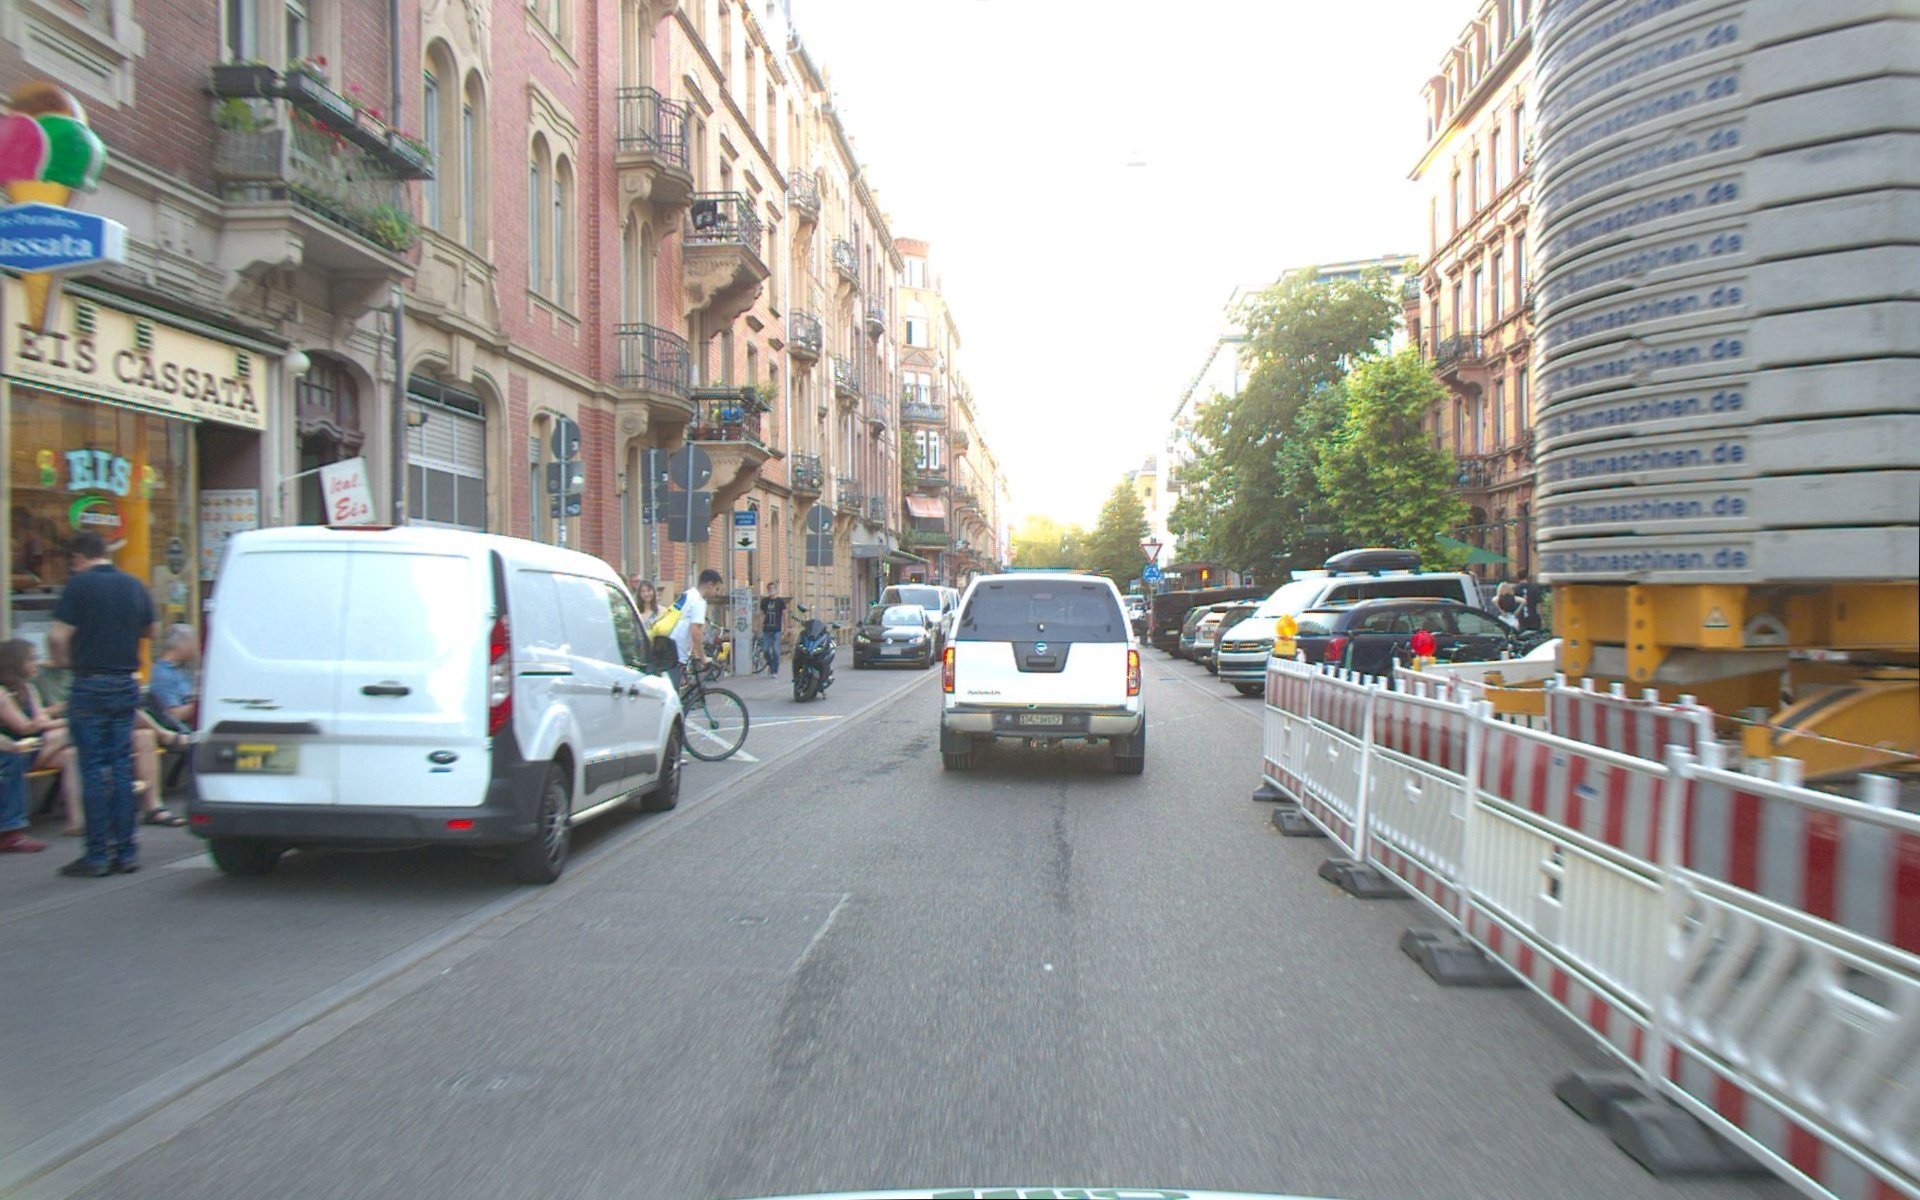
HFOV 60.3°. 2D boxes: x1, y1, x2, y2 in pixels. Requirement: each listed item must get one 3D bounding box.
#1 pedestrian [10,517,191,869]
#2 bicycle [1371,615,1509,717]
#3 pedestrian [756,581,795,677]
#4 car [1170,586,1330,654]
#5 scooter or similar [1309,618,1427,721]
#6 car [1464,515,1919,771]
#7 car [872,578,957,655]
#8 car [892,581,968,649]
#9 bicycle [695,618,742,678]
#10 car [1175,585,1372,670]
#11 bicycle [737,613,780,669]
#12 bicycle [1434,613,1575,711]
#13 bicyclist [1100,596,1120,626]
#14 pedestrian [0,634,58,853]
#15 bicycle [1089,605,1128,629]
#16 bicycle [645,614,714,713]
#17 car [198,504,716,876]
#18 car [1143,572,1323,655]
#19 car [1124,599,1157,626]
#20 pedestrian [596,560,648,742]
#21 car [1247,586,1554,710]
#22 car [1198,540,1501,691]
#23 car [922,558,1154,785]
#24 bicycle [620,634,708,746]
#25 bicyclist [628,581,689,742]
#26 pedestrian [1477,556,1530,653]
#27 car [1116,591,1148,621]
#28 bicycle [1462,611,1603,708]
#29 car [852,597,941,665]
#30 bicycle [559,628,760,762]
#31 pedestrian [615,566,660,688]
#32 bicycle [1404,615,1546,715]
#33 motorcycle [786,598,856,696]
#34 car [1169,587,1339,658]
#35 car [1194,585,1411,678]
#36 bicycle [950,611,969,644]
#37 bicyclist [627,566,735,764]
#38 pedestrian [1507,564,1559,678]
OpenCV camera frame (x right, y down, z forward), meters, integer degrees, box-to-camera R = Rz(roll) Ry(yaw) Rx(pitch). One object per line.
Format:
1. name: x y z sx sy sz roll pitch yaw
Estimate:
1. pedestrian: -4.510 0.467 8.689 0.607 1.760 0.584 0 -1 32
2. bicycle: 5.831 0.777 20.198 0.489 1.156 1.798 -2 1 -27
3. pedestrian: -3.615 0.563 32.472 0.668 1.842 0.961 1 -1 -2
4. car: 7.930 0.536 45.204 4.050 1.579 1.802 -3 1 -28
5. scooter or similar: 4.950 0.826 20.154 0.645 1.170 1.475 -2 0 -20
6. car: 7.337 0.303 14.742 5.065 1.989 1.900 -3 1 2
7. car: -1.165 0.423 44.552 1.798 1.955 4.848 0 0 4
8. car: -0.871 0.447 50.696 2.065 1.955 5.027 0 0 2
9. bicycle: -4.331 0.846 29.730 0.438 1.048 1.741 1 -1 4
10. car: 7.009 0.599 36.965 4.049 1.618 1.802 -3 1 -28
11. bicycle: -4.183 0.836 34.500 0.735 1.120 2.024 1 -1 -3
12. bicycle: 6.838 0.759 20.841 0.490 1.156 1.795 -2 1 -30
13. bicyclist: 7.667 0.561 84.469 0.853 1.492 0.576 1 -1 24
14. pedestrian: -5.417 0.768 9.046 0.618 1.160 0.573 1 -1 2
15. bicycle: 7.569 0.884 84.497 1.891 1.192 0.596 1 -1 24
16. bicycle: -3.511 0.773 20.843 0.403 1.180 1.838 1 -1 4
17. car: -2.835 0.469 10.494 1.733 1.820 4.588 1 -1 2
18. car: 8.048 0.360 48.543 5.375 2.108 1.910 -3 1 -35
19. car: 11.048 0.785 101.448 1.796 1.569 4.001 1 -1 3
20. pedestrian: -3.274 0.494 16.040 0.409 1.739 0.350 1 -1 -2
21. car: 6.112 0.615 22.974 3.802 1.542 1.835 -1 0 -23
22. car: 6.718 0.217 28.507 4.856 2.403 1.986 -1 0 -23
23. car: 0.914 0.617 16.237 1.897 1.842 5.004 1 -1 6
24. bicycle: -3.058 0.908 17.208 0.456 1.087 1.521 1 -1 7
25. bicyclist: -3.079 0.622 16.922 0.456 1.618 0.487 1 -1 7
26. pedestrian: 9.755 0.084 29.691 0.615 1.710 0.651 1 -1 -24
27. car: 11.448 0.421 110.229 1.902 1.967 4.001 1 -1 3
28. bicycle: 7.293 0.737 21.131 0.490 1.156 1.795 -2 1 -30
29. car: -1.437 0.691 38.758 1.799 1.496 4.173 0 0 2
30. bicycle: -2.757 0.864 15.203 1.750 1.175 0.518 1 -1 -19
31. pedestrian: -4.862 0.404 24.953 0.453 1.821 0.642 1 -1 7
32. bicycle: 6.362 0.779 20.526 0.490 1.156 1.795 -2 1 -30
33. motorcycle: -2.098 0.698 25.164 0.670 1.429 2.015 1 -1 6
34. car: 7.570 0.561 42.540 4.050 1.579 1.802 -3 1 -28
35. car: 7.063 0.603 34.036 4.105 1.618 1.869 -3 1 -28
36. bicycle: -0.028 1.007 60.198 0.461 1.162 1.786 1 -1 7
37. bicyclist: -2.512 0.568 14.898 0.771 1.733 0.528 0 -1 26
38. pedestrian: 10.443 0.384 30.140 0.614 2.049 0.652 1 -1 -20
